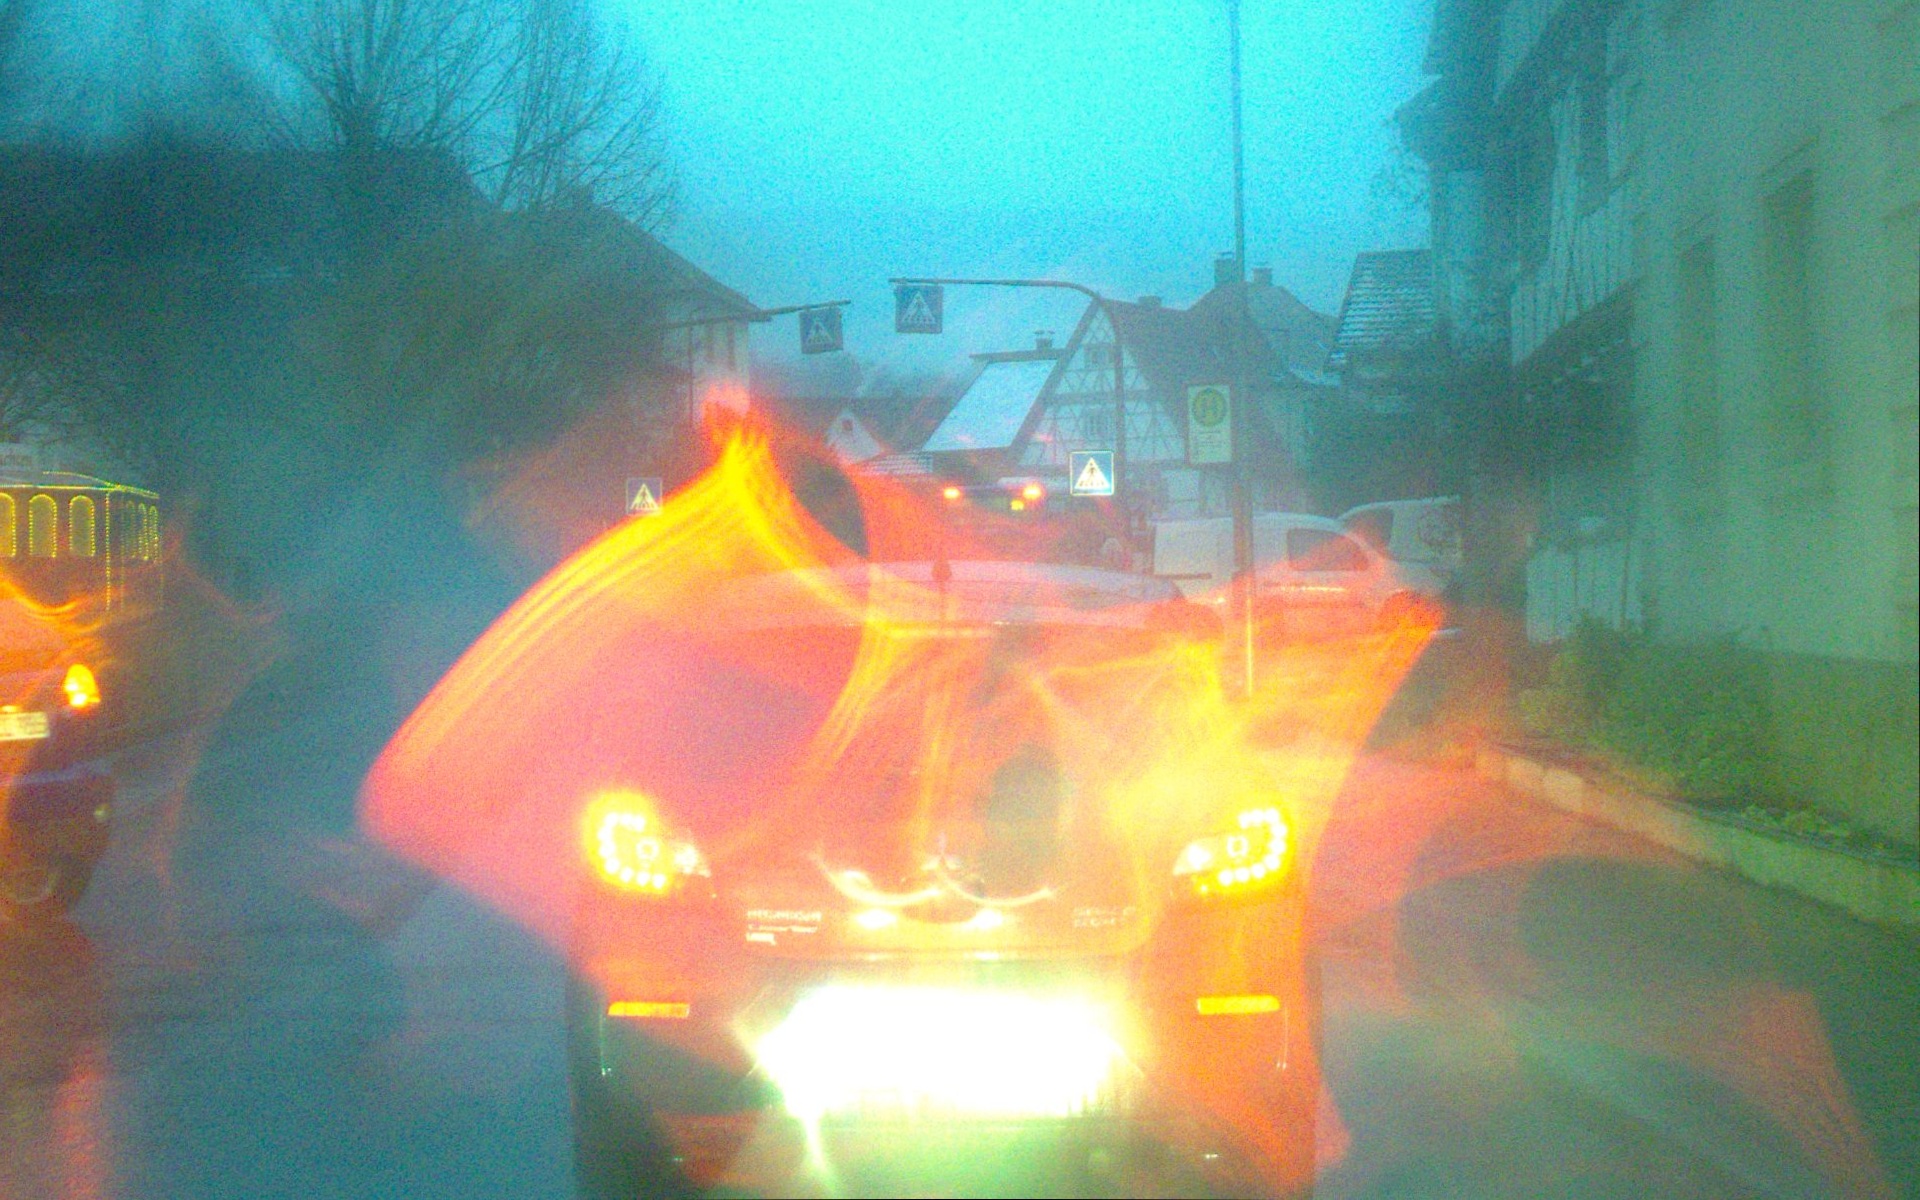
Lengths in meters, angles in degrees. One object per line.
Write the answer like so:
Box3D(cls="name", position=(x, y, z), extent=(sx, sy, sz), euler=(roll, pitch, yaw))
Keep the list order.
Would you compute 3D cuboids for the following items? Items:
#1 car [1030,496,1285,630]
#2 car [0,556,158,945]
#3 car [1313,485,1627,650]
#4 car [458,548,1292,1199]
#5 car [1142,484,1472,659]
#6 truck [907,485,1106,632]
Box3D(cls="car", position=(3.294, -0.621, 56.896), extent=(4.098, 2.144, 1.913), euler=(0, 1, 7))
Box3D(cls="car", position=(-5.068, 0.562, 13.934), extent=(3.265, 1.476, 1.641), euler=(1, 1, 28))
Box3D(cls="car", position=(6.843, -0.439, 46.381), extent=(4.098, 2.144, 1.913), euler=(0, 1, 7))
Box3D(cls="car", position=(-0.183, 0.620, 8.447), extent=(1.638, 1.476, 3.379), euler=(0, 1, 0))
Box3D(cls="car", position=(4.447, -0.367, 44.037), extent=(4.098, 2.155, 1.913), euler=(0, 1, 7))
Box3D(cls="truck", position=(1.145, -0.943, 76.753), extent=(3.017, 3.118, 7.996), euler=(0, 1, 11))
